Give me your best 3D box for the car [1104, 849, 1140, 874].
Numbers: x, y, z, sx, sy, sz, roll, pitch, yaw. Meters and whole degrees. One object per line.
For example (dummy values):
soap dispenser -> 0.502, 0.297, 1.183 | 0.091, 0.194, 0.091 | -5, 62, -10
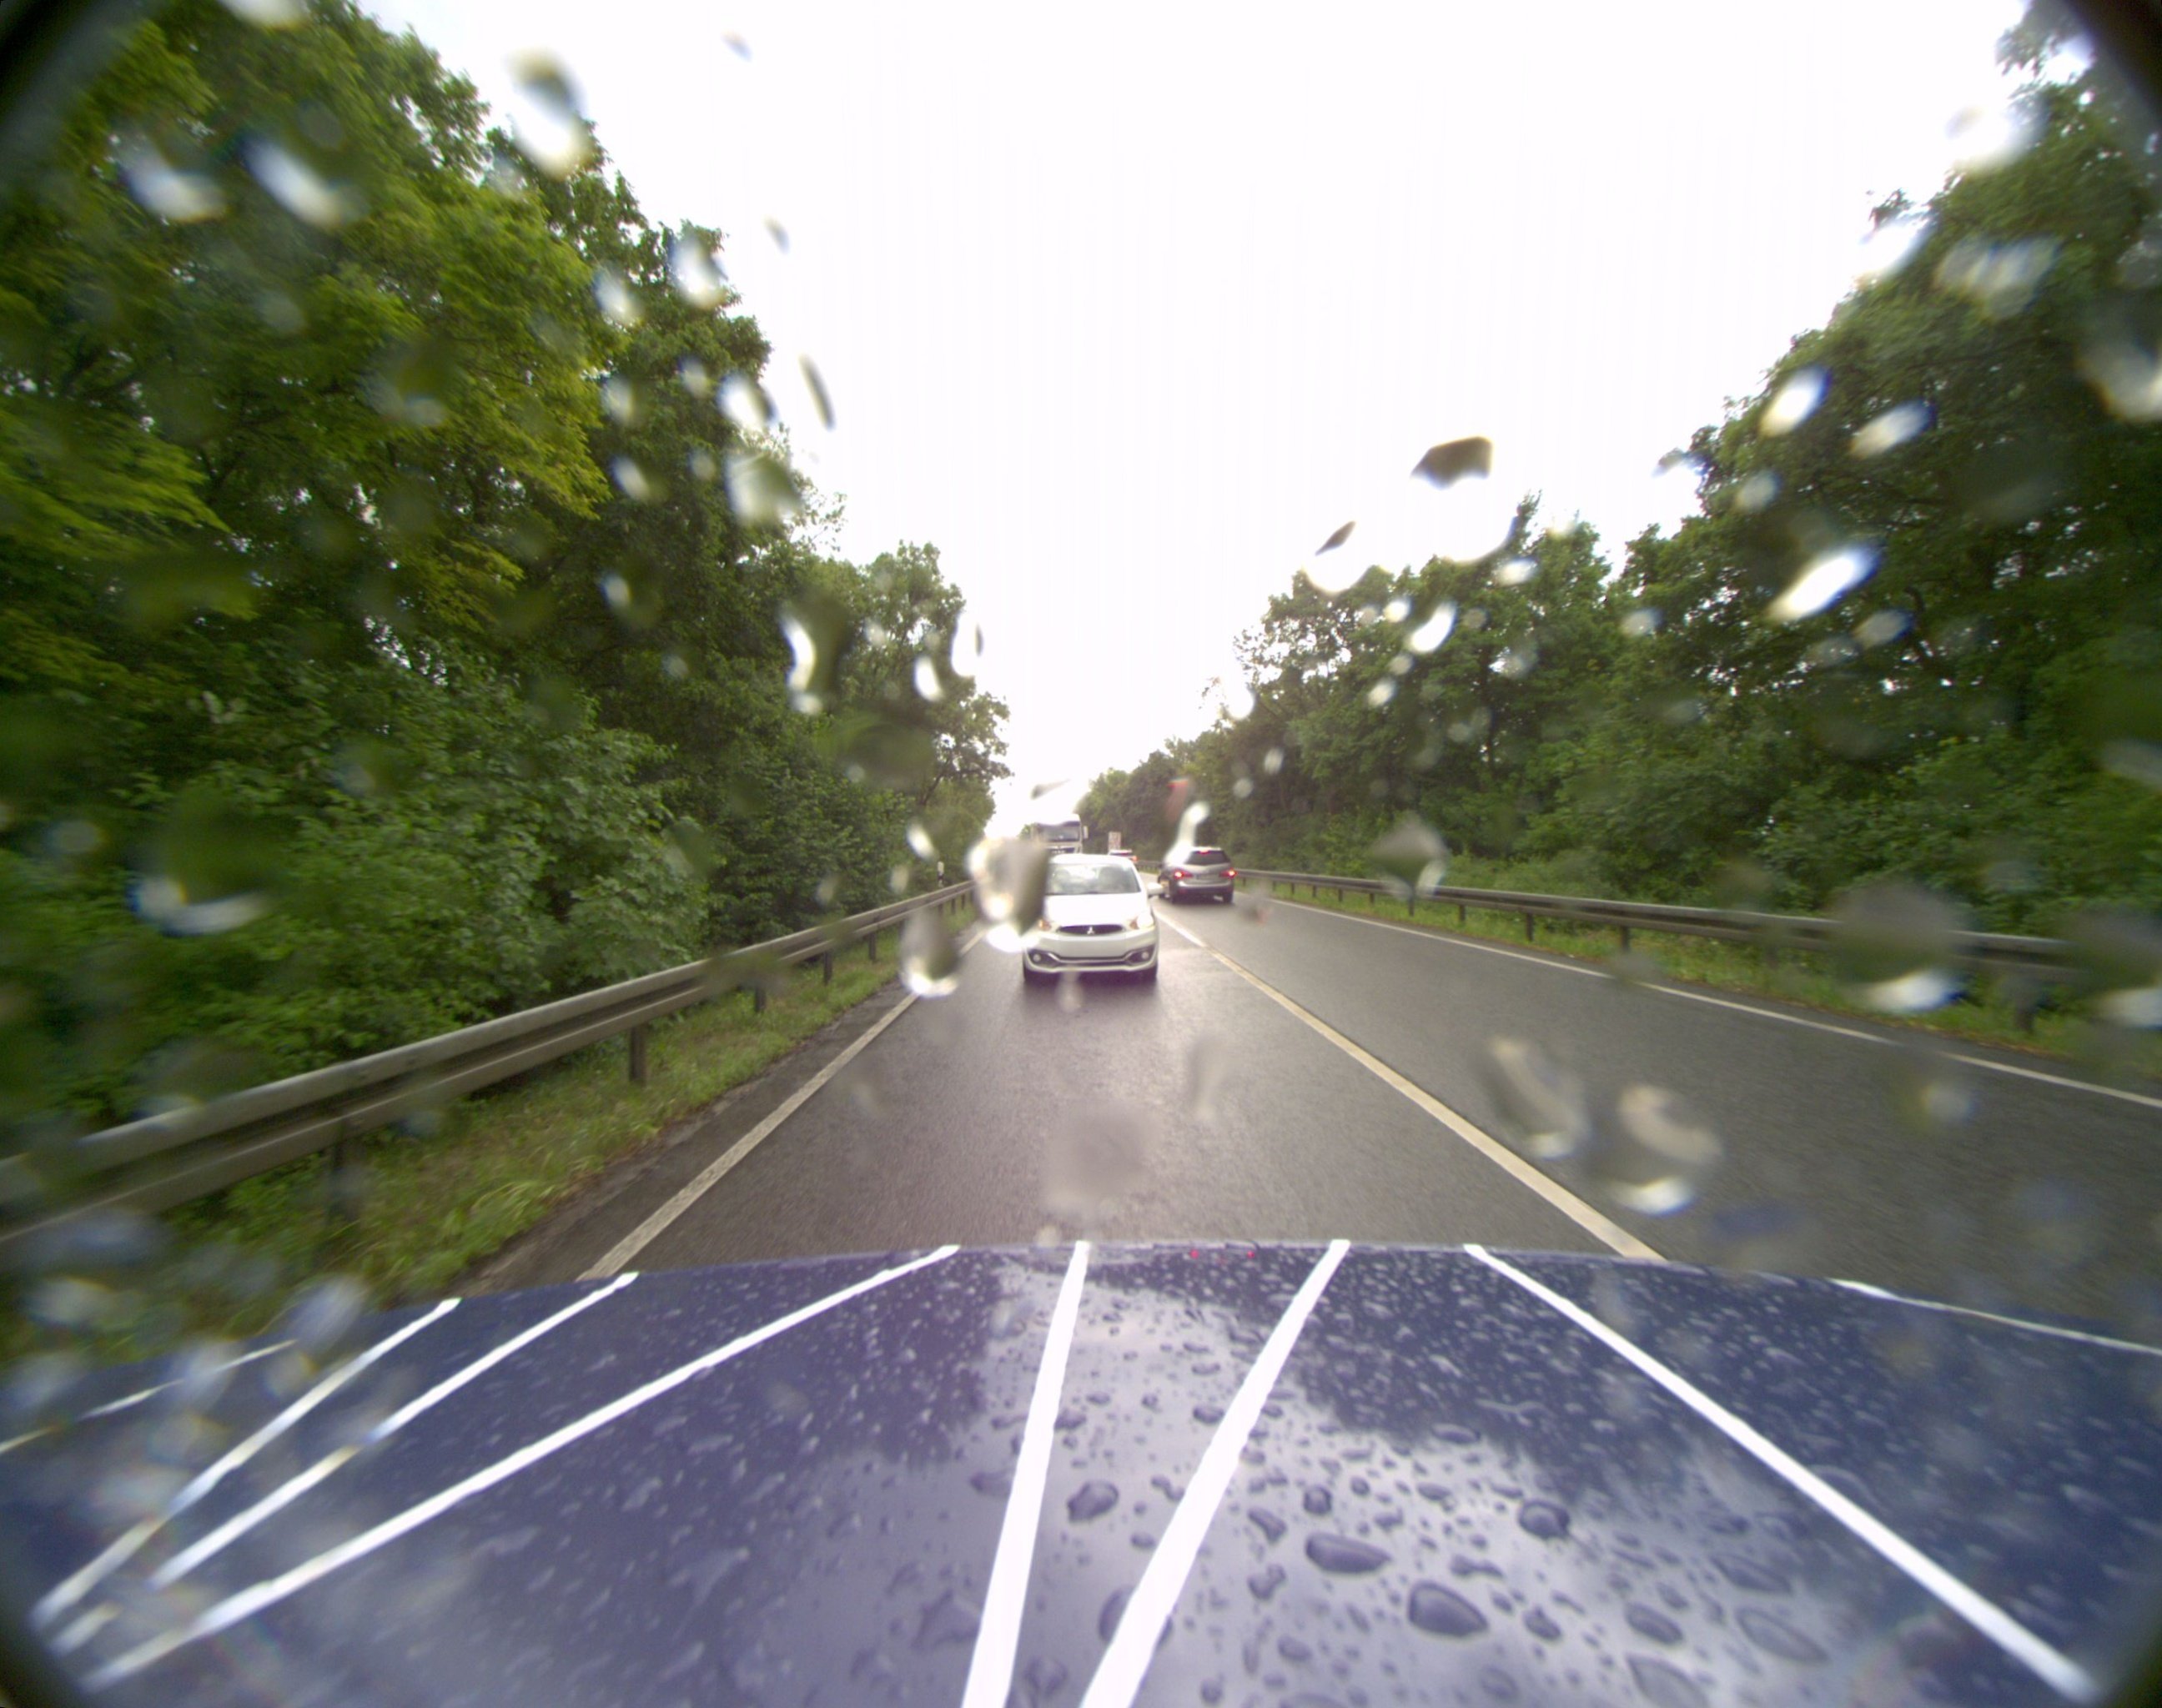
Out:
car -> 2.451, 0.445, 46.116 | 1.885, 1.412, 3.999 | -2, 0, -1

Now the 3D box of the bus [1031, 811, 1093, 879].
bus -> -1.133, -0.506, 45.675 | 3.063, 3.405, 13.637 | -2, 0, -1

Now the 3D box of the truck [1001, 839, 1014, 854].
truck -> -20.550, -2.191, 212.037 | 2.483, 4.056, 7.562 | -2, 1, -13

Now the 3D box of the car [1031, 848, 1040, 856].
car -> -8.958, -0.389, 149.386 | 1.535, 1.459, 3.072 | -2, 0, -8

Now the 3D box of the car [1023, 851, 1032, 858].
car -> -11.409, 0.102, 161.770 | 1.535, 1.459, 3.072 | -2, 0, -8

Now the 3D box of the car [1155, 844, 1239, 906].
car -> 3.367, 0.561, 22.836 | 1.801, 1.650, 4.082 | -2, 0, -1

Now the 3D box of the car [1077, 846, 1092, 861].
car -> 0.350, -0.057, 82.642 | 1.176, 1.519, 2.893 | -2, 0, -9

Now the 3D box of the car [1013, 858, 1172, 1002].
car -> 0.070, 0.841, 10.321 | 1.701, 1.471, 4.062 | -2, 0, -2

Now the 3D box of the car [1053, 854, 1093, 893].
car -> -0.363, 0.749, 30.250 | 1.476, 1.410, 3.428 | -1, 0, -2

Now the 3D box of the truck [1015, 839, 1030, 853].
truck -> -13.697, -1.831, 177.021 | 2.433, 2.982, 6.937 | -2, 1, -12
